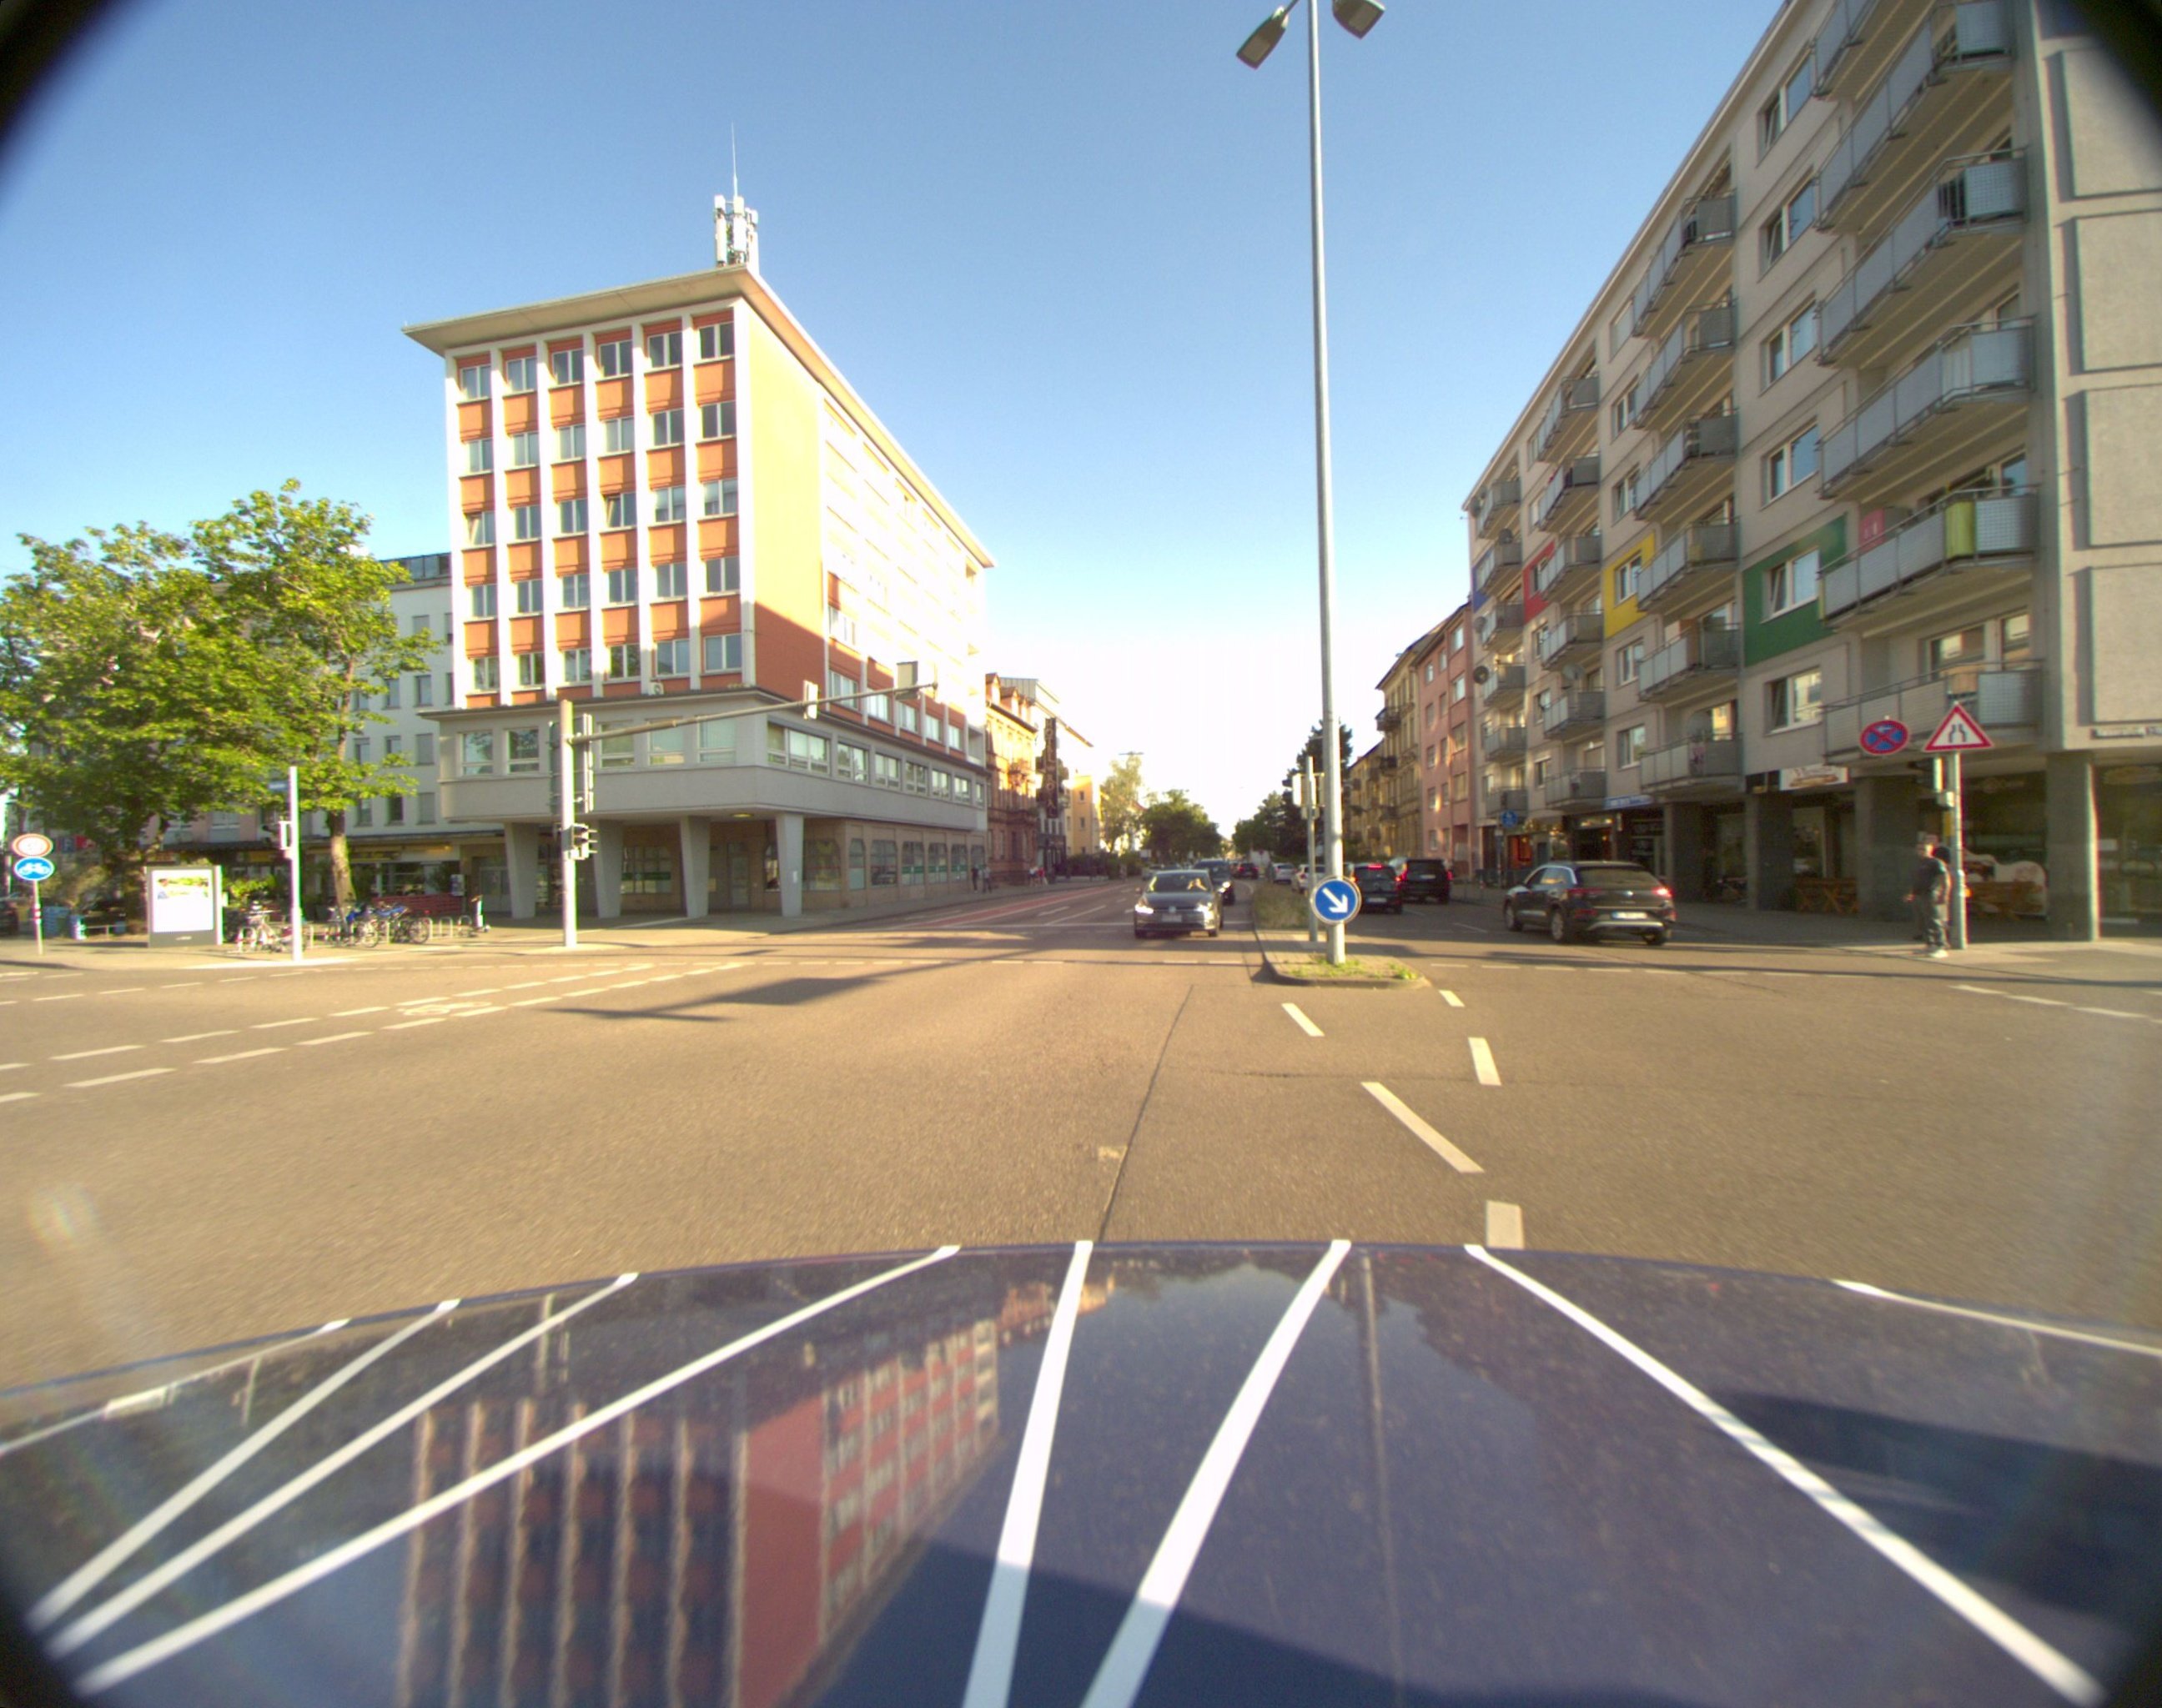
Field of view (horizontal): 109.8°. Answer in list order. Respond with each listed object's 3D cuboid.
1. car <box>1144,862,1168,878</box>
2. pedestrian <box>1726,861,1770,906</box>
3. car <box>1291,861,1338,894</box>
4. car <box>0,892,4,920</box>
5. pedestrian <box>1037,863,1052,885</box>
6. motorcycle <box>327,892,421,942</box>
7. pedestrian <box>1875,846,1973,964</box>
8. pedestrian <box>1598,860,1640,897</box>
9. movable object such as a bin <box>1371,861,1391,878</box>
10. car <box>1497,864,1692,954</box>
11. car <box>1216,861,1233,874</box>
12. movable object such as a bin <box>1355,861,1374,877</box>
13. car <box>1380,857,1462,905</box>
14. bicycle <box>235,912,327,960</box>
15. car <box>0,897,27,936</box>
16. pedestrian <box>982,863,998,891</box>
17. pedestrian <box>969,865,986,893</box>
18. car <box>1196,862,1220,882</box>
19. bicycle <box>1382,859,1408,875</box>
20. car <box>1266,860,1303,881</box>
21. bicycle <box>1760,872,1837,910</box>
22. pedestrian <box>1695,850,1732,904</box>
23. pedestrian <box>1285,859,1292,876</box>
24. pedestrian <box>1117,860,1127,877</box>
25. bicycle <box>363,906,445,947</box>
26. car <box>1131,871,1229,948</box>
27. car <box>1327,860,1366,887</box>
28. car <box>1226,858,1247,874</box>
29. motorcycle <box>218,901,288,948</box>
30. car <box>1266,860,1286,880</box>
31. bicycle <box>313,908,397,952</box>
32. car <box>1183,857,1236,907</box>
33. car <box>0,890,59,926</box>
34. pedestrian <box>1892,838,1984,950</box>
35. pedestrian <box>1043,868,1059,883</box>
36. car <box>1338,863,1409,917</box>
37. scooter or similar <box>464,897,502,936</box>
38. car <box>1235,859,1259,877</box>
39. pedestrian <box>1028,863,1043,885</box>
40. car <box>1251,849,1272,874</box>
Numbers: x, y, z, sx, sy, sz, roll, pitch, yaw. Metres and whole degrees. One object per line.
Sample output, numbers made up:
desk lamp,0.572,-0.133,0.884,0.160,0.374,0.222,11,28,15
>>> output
car,7.881,1.677,79.555,1.904,1.508,4.079,-1,0,13
pedestrian,19.770,0.861,22.524,0.626,1.306,0.809,-1,0,-31
car,11.472,1.110,37.556,1.678,1.535,3.809,0,0,8
car,-63.169,3.021,43.273,3.863,1.547,1.968,-2,0,33
pedestrian,-2.667,1.436,55.671,0.737,1.579,1.012,3,1,16
motorcycle,-22.537,1.980,24.295,0.843,1.384,2.266,-3,0,0
pedestrian,13.314,0.791,12.026,0.609,1.776,0.813,-4,-1,16
pedestrian,19.867,0.907,28.090,0.973,1.338,0.884,-1,0,12
movable object such as a bin,23.043,1.178,58.335,1.195,1.225,0.847,-1,0,-28
car,10.041,0.990,15.272,1.797,1.556,4.152,-1,-1,12
car,17.016,1.585,90.311,1.595,1.462,3.987,0,-1,5
movable object such as a bin,22.441,1.221,60.141,1.195,1.225,0.847,-1,0,-28
car,12.935,0.979,29.240,1.819,1.700,4.790,0,0,11
bicycle,-20.281,2.065,19.268,1.975,1.108,0.594,0,0,10
car,-42.134,2.408,29.252,3.626,1.419,1.644,-2,0,33
pedestrian,-5.691,1.445,47.716,0.667,1.716,1.012,-1,0,13
pedestrian,-6.496,1.566,47.784,0.667,1.716,1.012,-1,0,14
car,10.932,1.500,65.177,1.905,1.531,4.003,-1,0,12
bicycle,23.837,0.959,57.671,1.778,1.184,0.474,-1,0,10
car,14.134,1.140,52.928,1.712,1.417,4.104,0,-1,3
bicycle,20.137,1.017,21.367,0.626,0.993,1.698,-1,0,3
pedestrian,19.855,0.725,23.847,0.626,1.662,0.657,-1,0,-24
pedestrian,20.078,1.293,73.490,0.577,1.591,0.482,-1,0,13
pedestrian,4.140,1.456,76.140,0.737,1.592,1.012,1,1,15
bicycle,-19.718,2.106,22.136,2.058,1.108,0.594,0,0,9
car,2.379,1.174,17.395,1.769,1.450,4.274,-3,-1,13
car,15.545,1.110,44.635,1.678,1.535,3.641,0,0,12
car,16.125,1.246,78.950,1.723,1.619,4.104,0,0,5
motorcycle,-25.052,2.109,22.988,2.051,1.300,0.892,-1,1,27
car,16.006,1.299,62.381,1.537,1.583,2.811,0,0,13
bicycle,-19.954,2.088,20.891,2.004,1.108,0.594,0,0,10
car,5.166,1.027,30.190,1.893,1.843,4.471,0,0,12
car,-50.024,2.538,36.021,3.626,1.537,1.644,-2,0,33
pedestrian,14.855,0.679,13.194,0.609,1.864,0.813,-4,-1,13
pedestrian,-2.416,1.749,61.276,1.099,1.129,0.925,-1,0,10
car,9.083,1.060,23.844,1.580,1.535,3.481,0,0,13
scooter or similar,-20.525,2.131,26.079,1.557,1.228,0.485,0,1,32
car,15.049,1.266,69.038,1.679,1.535,4.105,0,0,6
pedestrian,-3.341,1.440,55.926,0.785,1.579,1.012,3,1,16
car,20.245,0.850,85.335,2.134,2.740,4.470,0,0,12
